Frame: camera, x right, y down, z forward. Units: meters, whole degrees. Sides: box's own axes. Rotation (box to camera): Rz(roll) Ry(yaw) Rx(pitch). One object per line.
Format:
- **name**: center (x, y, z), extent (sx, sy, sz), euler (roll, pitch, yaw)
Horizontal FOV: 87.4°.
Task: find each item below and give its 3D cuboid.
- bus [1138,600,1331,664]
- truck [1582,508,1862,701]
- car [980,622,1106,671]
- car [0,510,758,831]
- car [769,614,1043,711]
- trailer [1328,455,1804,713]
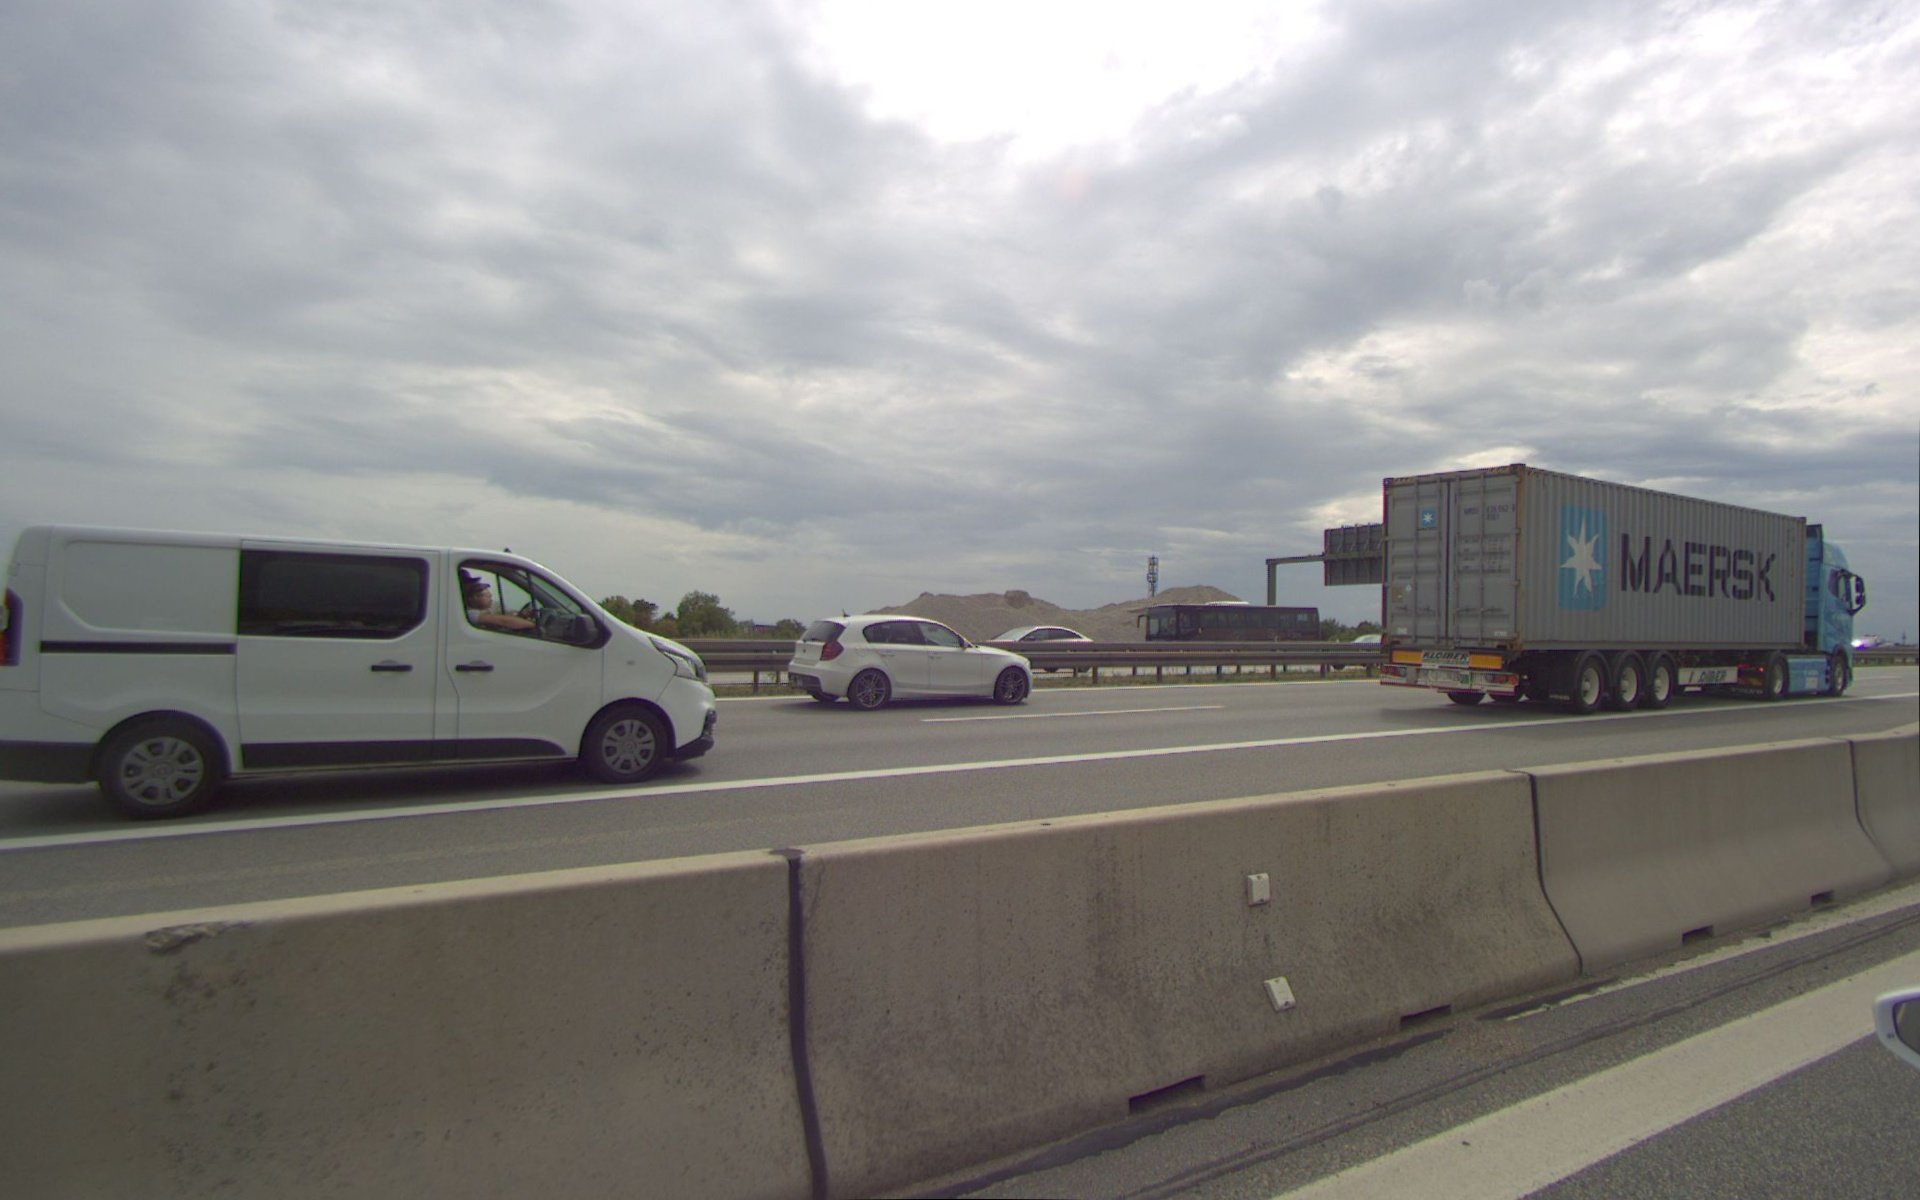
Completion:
- **bus**: center (16.452, 1.908, 59.530), extent (12.849, 3.488, 3.196), euler (2, 0, -32)
- **truck**: center (18.116, 0.171, 23.801), extent (6.539, 3.963, 3.228), euler (2, 0, -33)
- **car**: center (2.715, 1.494, 32.639), extent (3.954, 1.483, 1.515), euler (2, -1, -31)
- **car**: center (-4.454, 0.488, 8.284), extent (5.078, 1.963, 1.987), euler (2, 0, -34)
- **car**: center (-0.810, 0.965, 16.291), extent (4.163, 1.387, 1.741), euler (2, -1, -35)
- **trailer**: center (12.682, -0.091, 20.226), extent (12.249, 3.976, 3.217), euler (2, 0, -34)
